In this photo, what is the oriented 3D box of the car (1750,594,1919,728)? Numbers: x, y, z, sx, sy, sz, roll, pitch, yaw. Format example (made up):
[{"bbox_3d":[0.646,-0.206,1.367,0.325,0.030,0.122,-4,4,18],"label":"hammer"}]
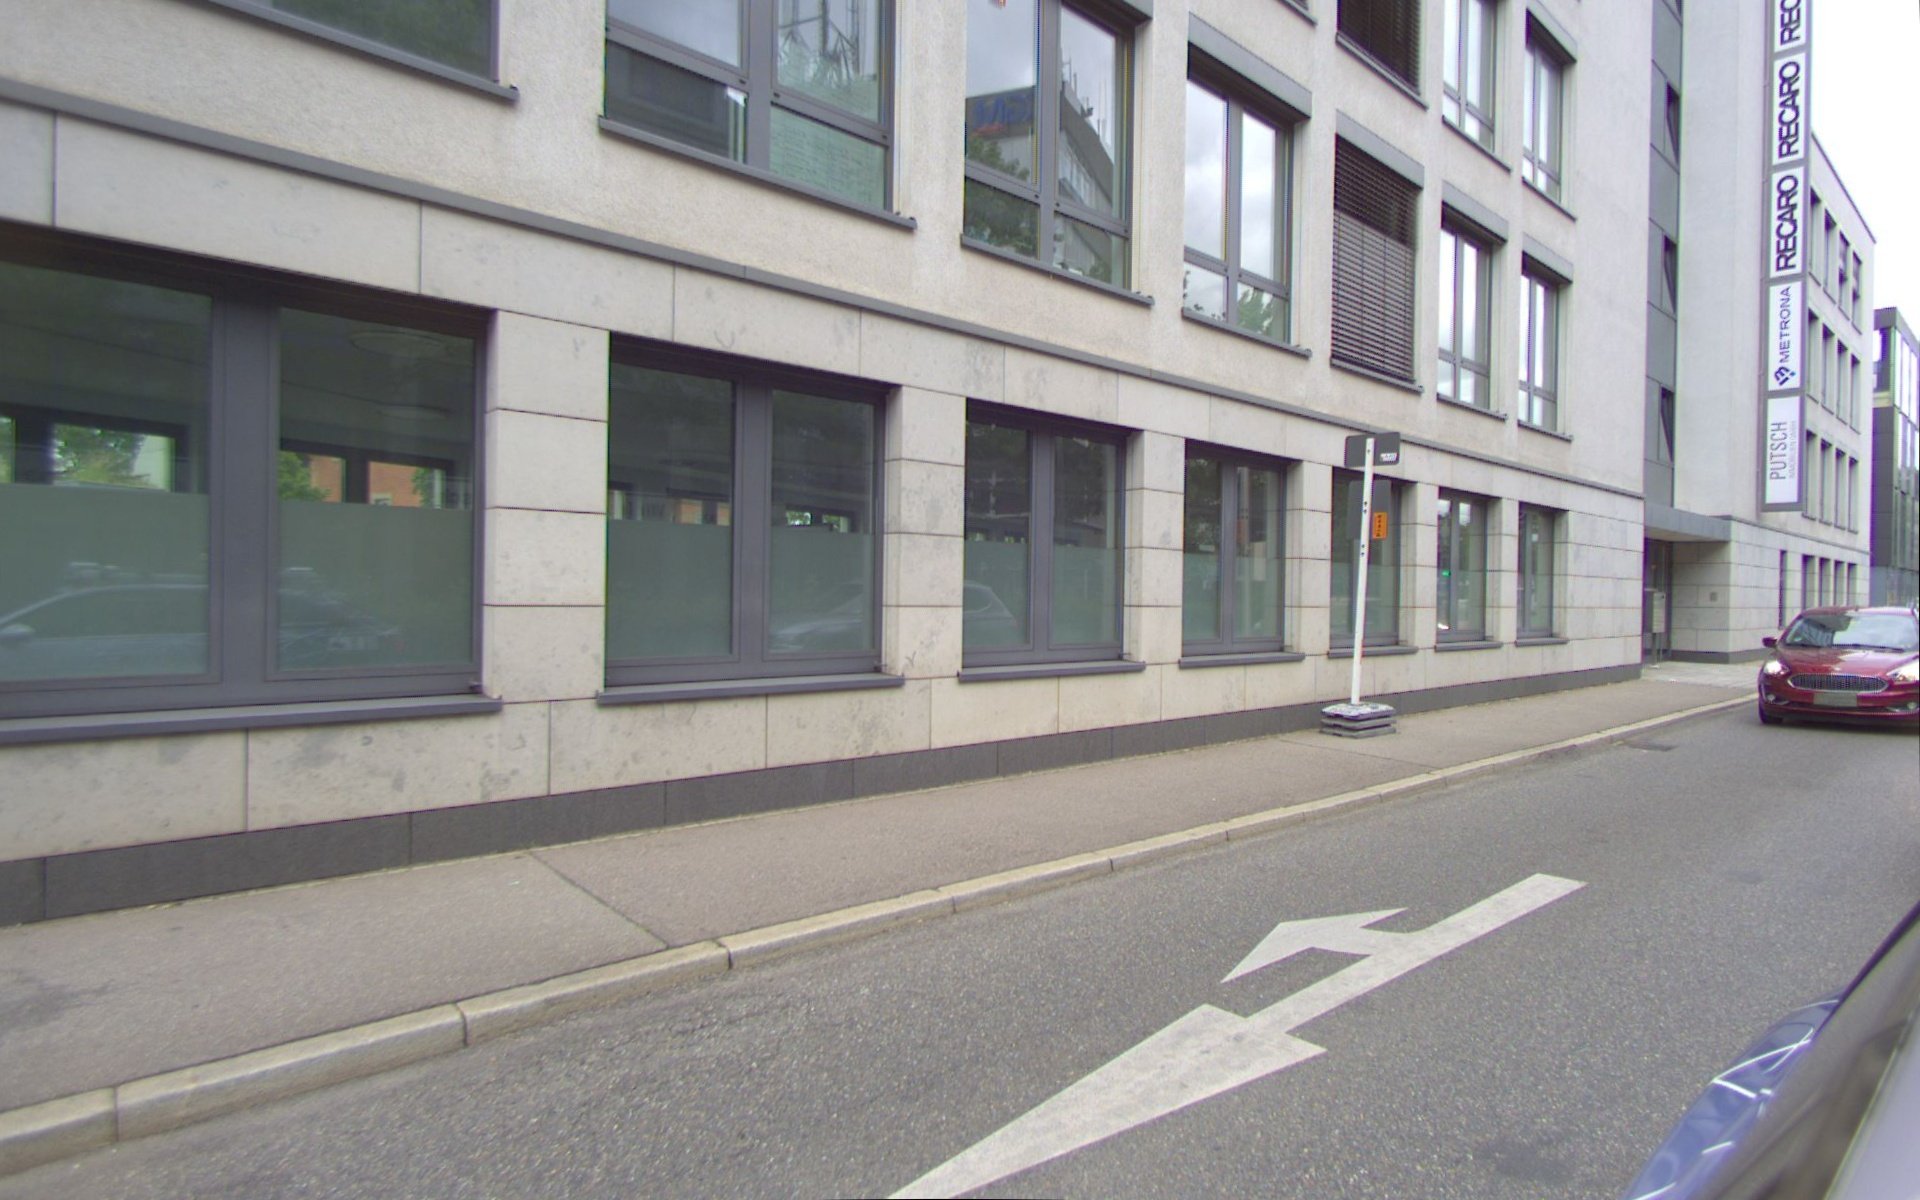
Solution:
[{"bbox_3d":[11.964,0.713,13.189,3.930,1.511,1.888,0,-2,-41],"label":"car"}]
